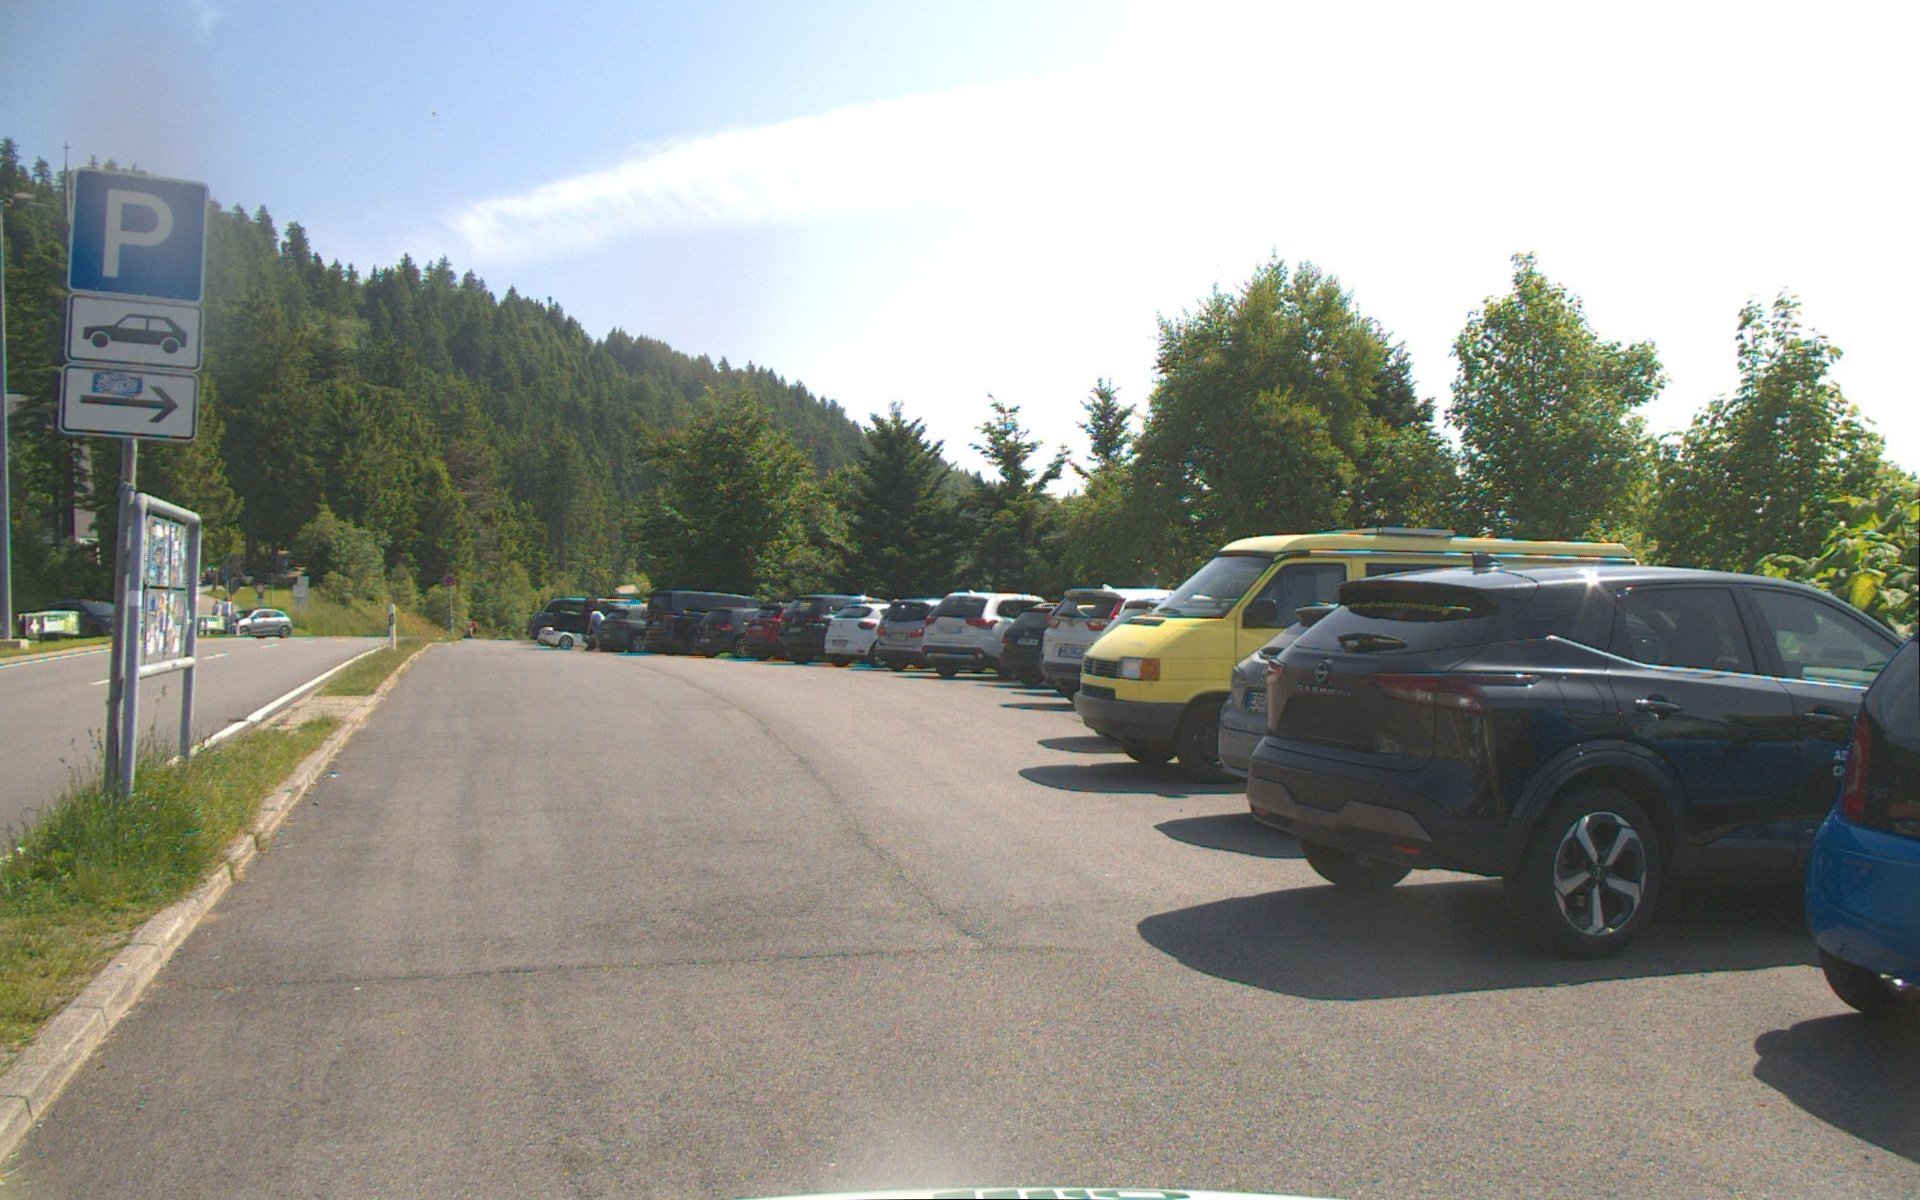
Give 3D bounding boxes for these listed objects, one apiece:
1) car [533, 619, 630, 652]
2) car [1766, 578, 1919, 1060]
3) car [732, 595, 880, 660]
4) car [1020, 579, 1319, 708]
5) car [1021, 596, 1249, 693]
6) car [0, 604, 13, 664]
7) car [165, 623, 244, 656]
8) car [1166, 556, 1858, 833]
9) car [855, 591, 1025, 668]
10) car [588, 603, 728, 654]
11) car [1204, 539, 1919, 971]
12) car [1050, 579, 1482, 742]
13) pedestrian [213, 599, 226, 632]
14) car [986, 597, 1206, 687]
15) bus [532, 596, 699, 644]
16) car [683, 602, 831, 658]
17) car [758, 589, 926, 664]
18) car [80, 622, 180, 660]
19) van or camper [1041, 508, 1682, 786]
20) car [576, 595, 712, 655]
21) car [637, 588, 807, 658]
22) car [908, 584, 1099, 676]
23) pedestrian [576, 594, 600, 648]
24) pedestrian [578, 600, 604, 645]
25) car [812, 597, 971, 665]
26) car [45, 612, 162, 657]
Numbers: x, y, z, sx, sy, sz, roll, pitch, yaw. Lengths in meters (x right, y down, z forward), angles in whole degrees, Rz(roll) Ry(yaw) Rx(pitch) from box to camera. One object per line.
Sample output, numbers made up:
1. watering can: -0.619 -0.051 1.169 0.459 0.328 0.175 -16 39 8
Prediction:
1. car: -18.974 1.795 82.952 4.412 1.321 1.564 6 -3 -33
2. car: 4.799 0.765 5.577 3.522 1.521 1.641 2 1 -16
3. car: -4.160 0.771 45.162 1.826 1.617 3.985 1 -2 36
4. car: 3.077 0.652 23.920 4.139 1.678 1.867 3 -2 -37
5. car: 2.998 0.770 27.930 3.769 1.484 1.639 3 -1 -40
6. car: -27.616 0.927 44.727 3.970 1.595 1.737 0 0 29
7. car: -37.505 1.959 82.180 1.549 1.453 3.369 0 1 25
8. car: 3.597 0.584 10.985 4.080 1.617 1.699 1 0 -14
9. car: -0.389 0.695 37.165 1.784 1.576 3.985 1 -2 36
10. car: -9.585 0.907 52.590 3.959 1.468 1.815 3 -2 -38
11. car: 3.365 0.615 7.933 3.931 1.642 1.904 1 0 -22
12. car: 3.297 0.578 17.884 4.286 1.513 1.802 -1 1 -20
13. pedestrian: -41.652 0.848 93.009 0.644 1.830 0.638 0 0 -23
14. car: 2.555 0.794 30.407 1.863 1.487 4.022 1 -2 45
15. bus: -27.187 1.562 130.970 12.597 3.640 2.982 1 1 0
16. car: -5.763 0.873 47.239 3.969 1.440 1.716 3 -2 -44
17. car: -2.935 0.702 42.025 1.951 1.724 4.257 1 -2 35
18. car: -34.510 1.699 68.745 3.880 1.466 1.742 -1 1 27
19. van or camper: 3.391 0.421 14.134 5.007 2.048 1.874 3 0 -16
20. car: -10.551 0.853 55.402 3.969 1.691 1.968 7 -5 -44
21. car: -7.191 0.706 50.177 4.719 1.913 1.942 3 -2 -36
22. car: 0.958 0.619 33.781 1.826 1.724 4.211 1 -1 36
23. pedestrian: -12.509 0.718 55.660 0.567 1.792 0.633 2 -2 -1
24. pedestrian: -11.977 0.726 53.656 0.759 1.427 0.667 -1 1 -11
25. car: -1.601 0.768 39.990 1.732 1.502 3.985 1 -2 36
26. car: -32.794 1.311 63.330 4.112 1.662 1.788 -1 -1 23
